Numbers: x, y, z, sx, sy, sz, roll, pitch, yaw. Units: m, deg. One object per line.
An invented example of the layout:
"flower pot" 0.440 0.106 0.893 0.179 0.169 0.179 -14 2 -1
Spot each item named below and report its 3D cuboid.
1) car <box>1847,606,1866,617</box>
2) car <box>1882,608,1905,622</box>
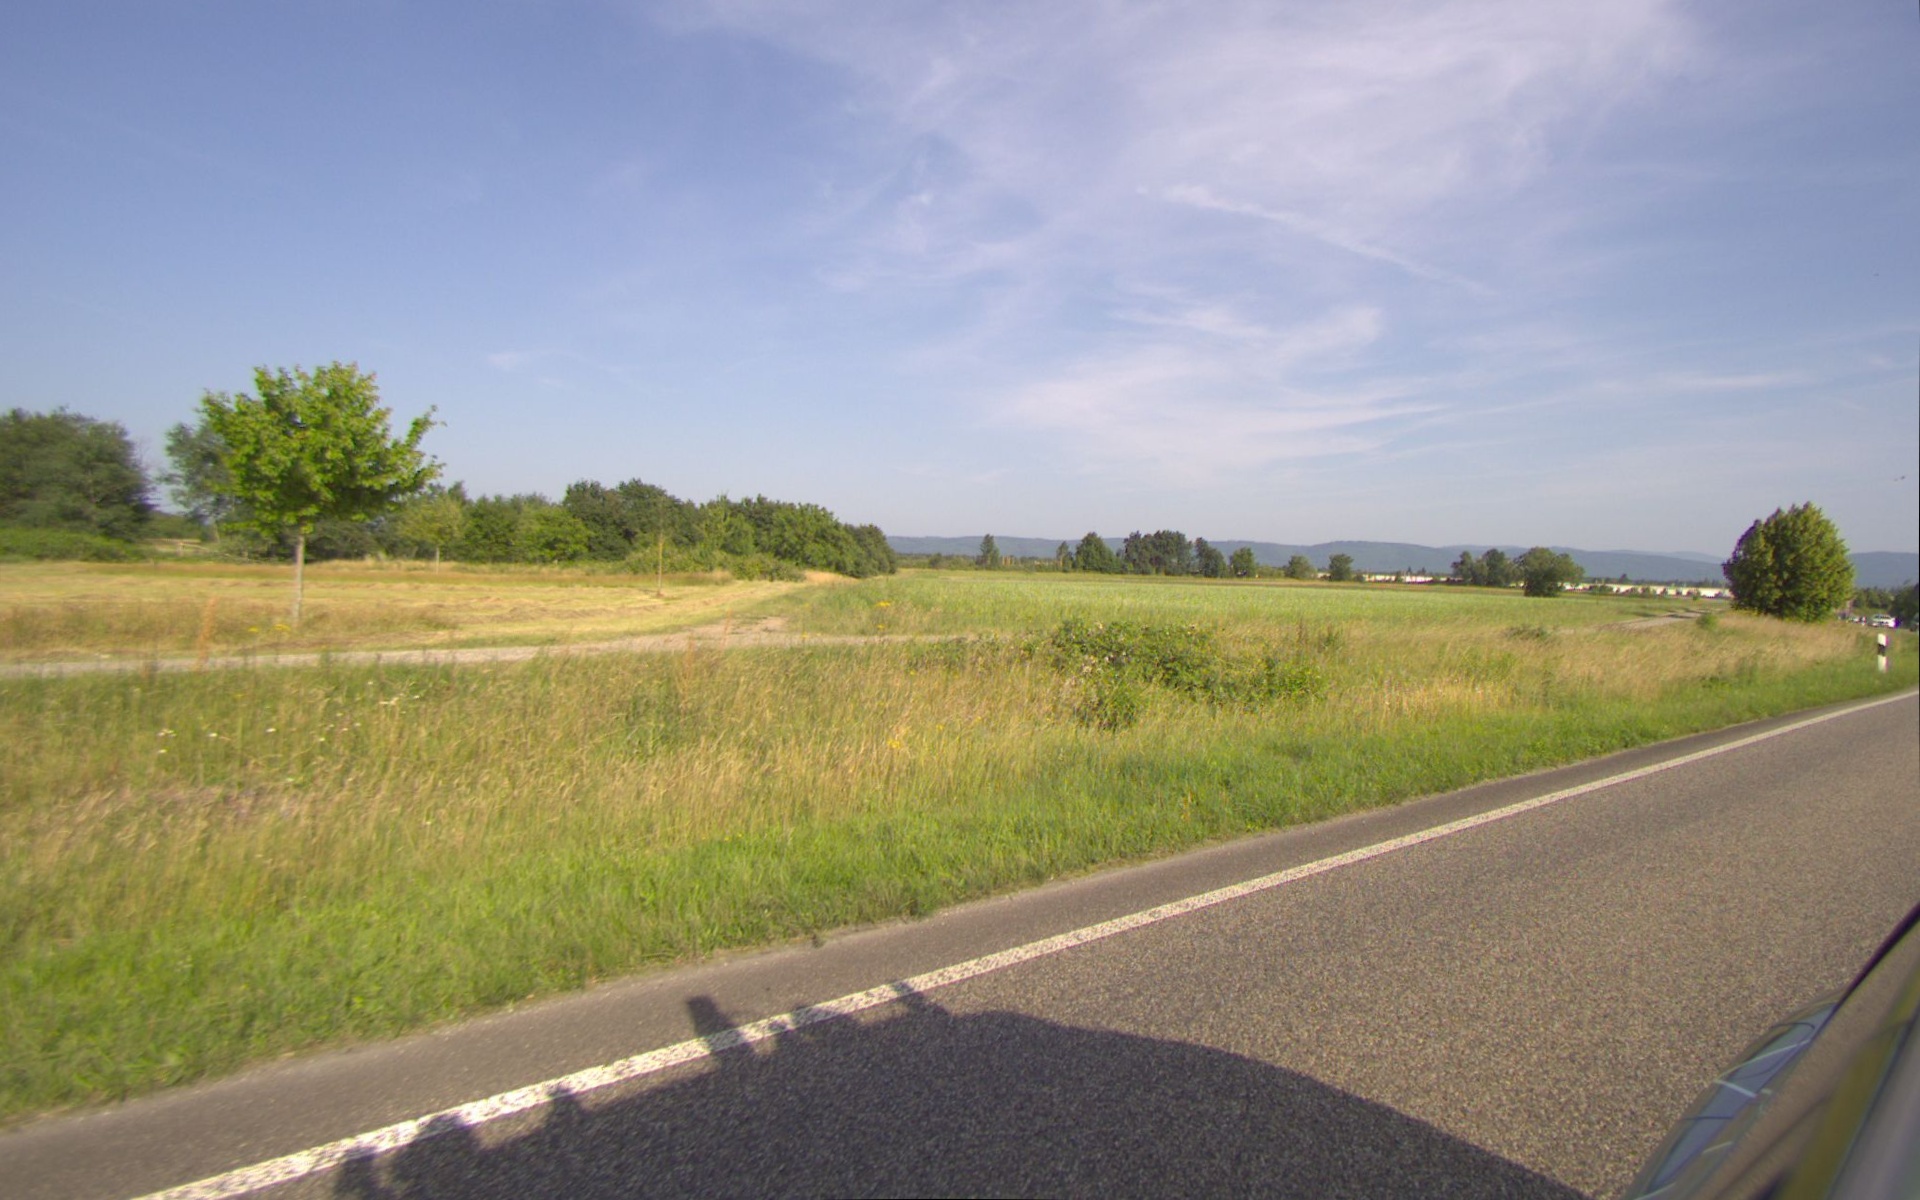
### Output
"car" 116.676 1.458 131.702 1.550 1.417 3.980 2 1 38
"car" 101.470 1.587 109.997 1.551 1.417 3.978 2 1 39
